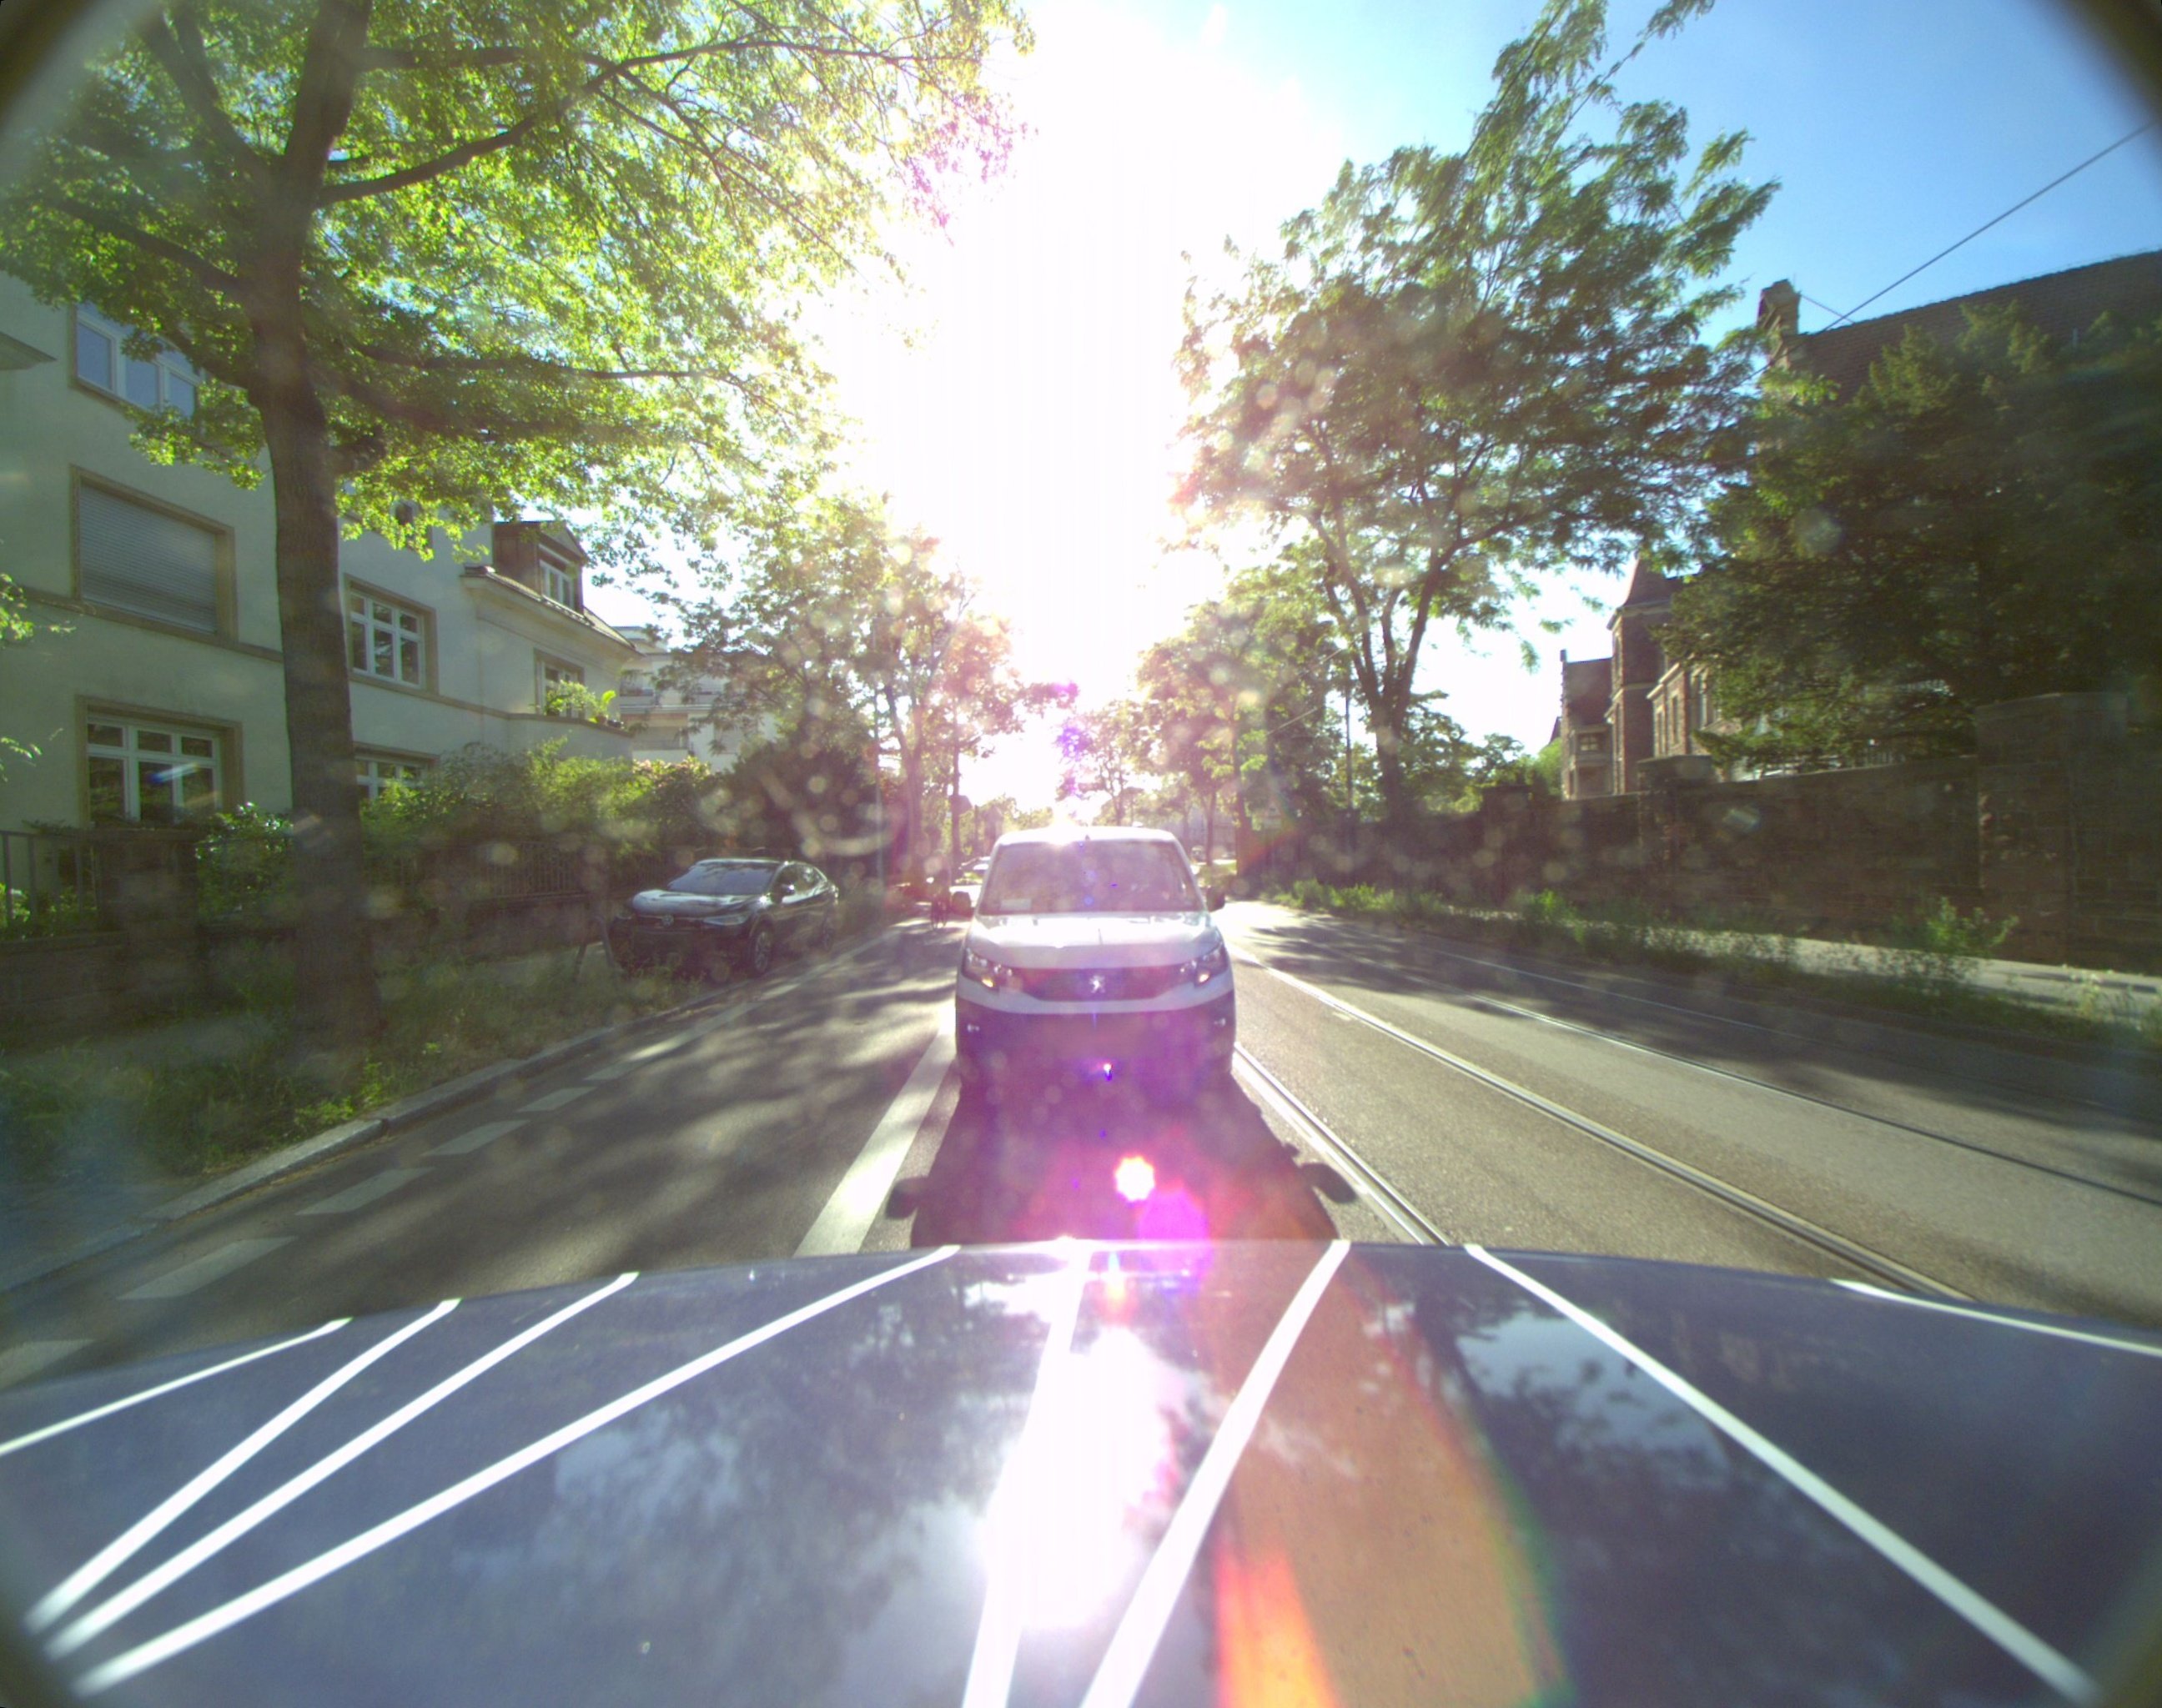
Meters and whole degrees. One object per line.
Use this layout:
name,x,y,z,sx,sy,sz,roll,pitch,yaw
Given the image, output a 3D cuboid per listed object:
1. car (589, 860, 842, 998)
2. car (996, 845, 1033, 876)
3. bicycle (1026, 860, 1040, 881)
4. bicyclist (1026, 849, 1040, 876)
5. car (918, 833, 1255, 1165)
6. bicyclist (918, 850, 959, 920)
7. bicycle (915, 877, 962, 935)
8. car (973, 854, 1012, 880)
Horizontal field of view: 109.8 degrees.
car,-5.168,0.945,11.435,1.743,1.597,4.091,2,0,1
car,-4.495,0.430,51.934,1.998,2.002,4.583,-2,0,1
bicycle,-2.687,0.902,42.741,0.644,1.137,1.815,-1,0,1
bicyclist,-2.703,0.471,42.731,0.623,1.479,1.115,-2,0,1
car,0.048,0.785,6.540,1.793,1.770,4.786,-2,0,0
bicyclist,-3.168,0.675,16.956,0.645,1.479,1.115,-2,1,1
bicycle,-3.147,1.125,16.955,0.644,1.137,1.902,-1,0,1
car,-5.248,0.752,45.469,1.787,1.443,4.000,-2,0,1
